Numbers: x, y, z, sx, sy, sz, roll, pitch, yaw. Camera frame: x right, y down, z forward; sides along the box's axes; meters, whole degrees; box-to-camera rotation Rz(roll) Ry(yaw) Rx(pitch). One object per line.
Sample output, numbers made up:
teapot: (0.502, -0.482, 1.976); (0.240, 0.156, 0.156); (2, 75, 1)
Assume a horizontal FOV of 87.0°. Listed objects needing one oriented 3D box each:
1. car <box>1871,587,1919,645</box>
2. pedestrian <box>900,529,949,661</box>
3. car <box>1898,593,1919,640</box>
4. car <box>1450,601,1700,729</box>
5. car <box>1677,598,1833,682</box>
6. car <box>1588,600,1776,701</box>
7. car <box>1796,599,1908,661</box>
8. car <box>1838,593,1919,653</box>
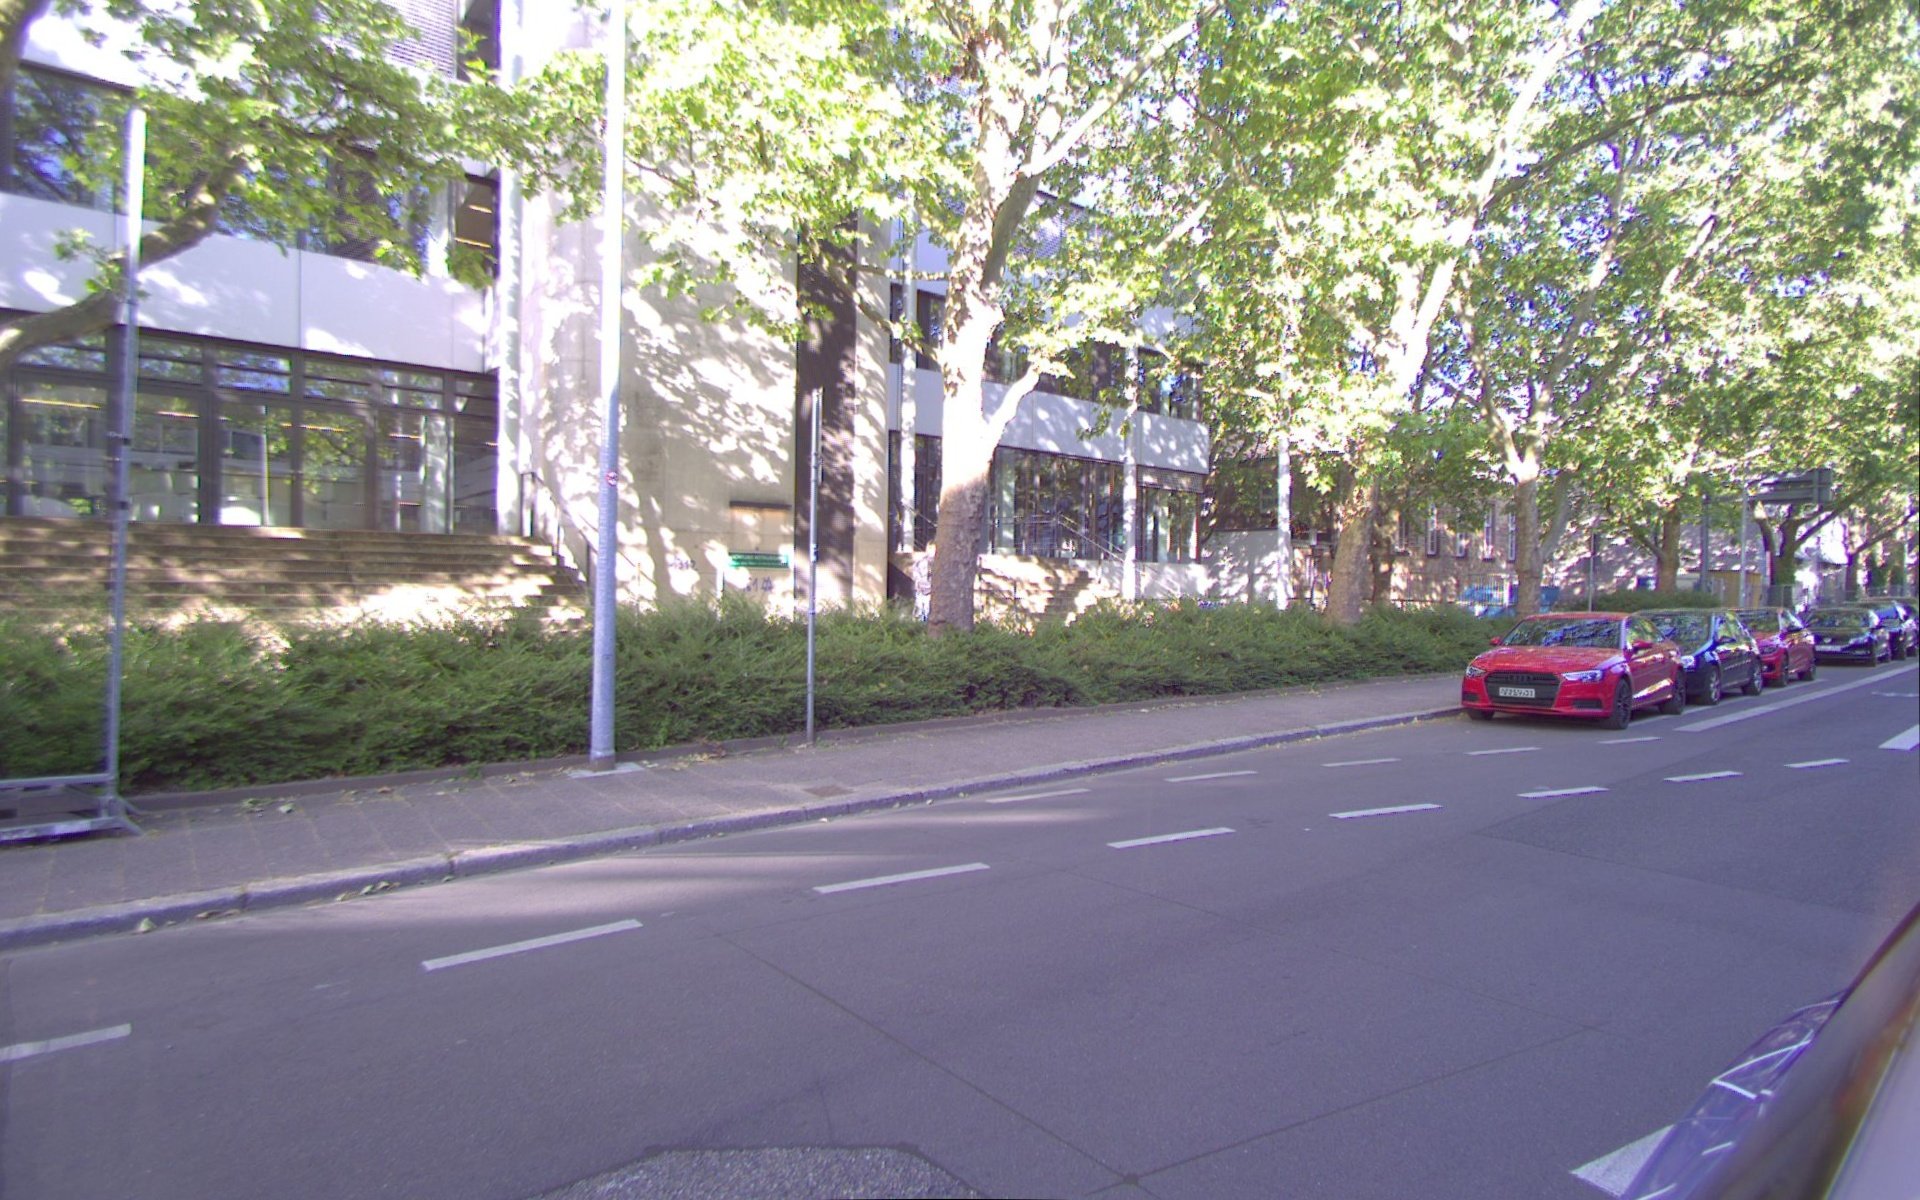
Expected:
car: (31.174, 0.475, 33.025); (4.497, 1.814, 1.632); (-1, 0, -41)
pedestrian: (-0.558, -0.076, 16.019); (0.549, 2.039, 0.555); (0, 0, 38)
car: (35.538, 0.574, 36.796); (4.497, 1.633, 1.632); (-1, 0, -41)
car: (8.302, 0.740, 13.528); (3.931, 1.409, 1.792); (-1, 1, -42)
car: (15.745, 0.711, 19.985); (3.854, 1.467, 1.691); (-1, 0, -40)
car: (11.857, 0.733, 16.558); (3.632, 1.436, 1.668); (-1, 0, -40)
car: (22.950, 0.714, 26.000); (3.855, 1.441, 1.691); (-1, 1, -41)
car: (26.635, 0.606, 29.057); (4.158, 1.598, 1.632); (-1, 0, -41)
